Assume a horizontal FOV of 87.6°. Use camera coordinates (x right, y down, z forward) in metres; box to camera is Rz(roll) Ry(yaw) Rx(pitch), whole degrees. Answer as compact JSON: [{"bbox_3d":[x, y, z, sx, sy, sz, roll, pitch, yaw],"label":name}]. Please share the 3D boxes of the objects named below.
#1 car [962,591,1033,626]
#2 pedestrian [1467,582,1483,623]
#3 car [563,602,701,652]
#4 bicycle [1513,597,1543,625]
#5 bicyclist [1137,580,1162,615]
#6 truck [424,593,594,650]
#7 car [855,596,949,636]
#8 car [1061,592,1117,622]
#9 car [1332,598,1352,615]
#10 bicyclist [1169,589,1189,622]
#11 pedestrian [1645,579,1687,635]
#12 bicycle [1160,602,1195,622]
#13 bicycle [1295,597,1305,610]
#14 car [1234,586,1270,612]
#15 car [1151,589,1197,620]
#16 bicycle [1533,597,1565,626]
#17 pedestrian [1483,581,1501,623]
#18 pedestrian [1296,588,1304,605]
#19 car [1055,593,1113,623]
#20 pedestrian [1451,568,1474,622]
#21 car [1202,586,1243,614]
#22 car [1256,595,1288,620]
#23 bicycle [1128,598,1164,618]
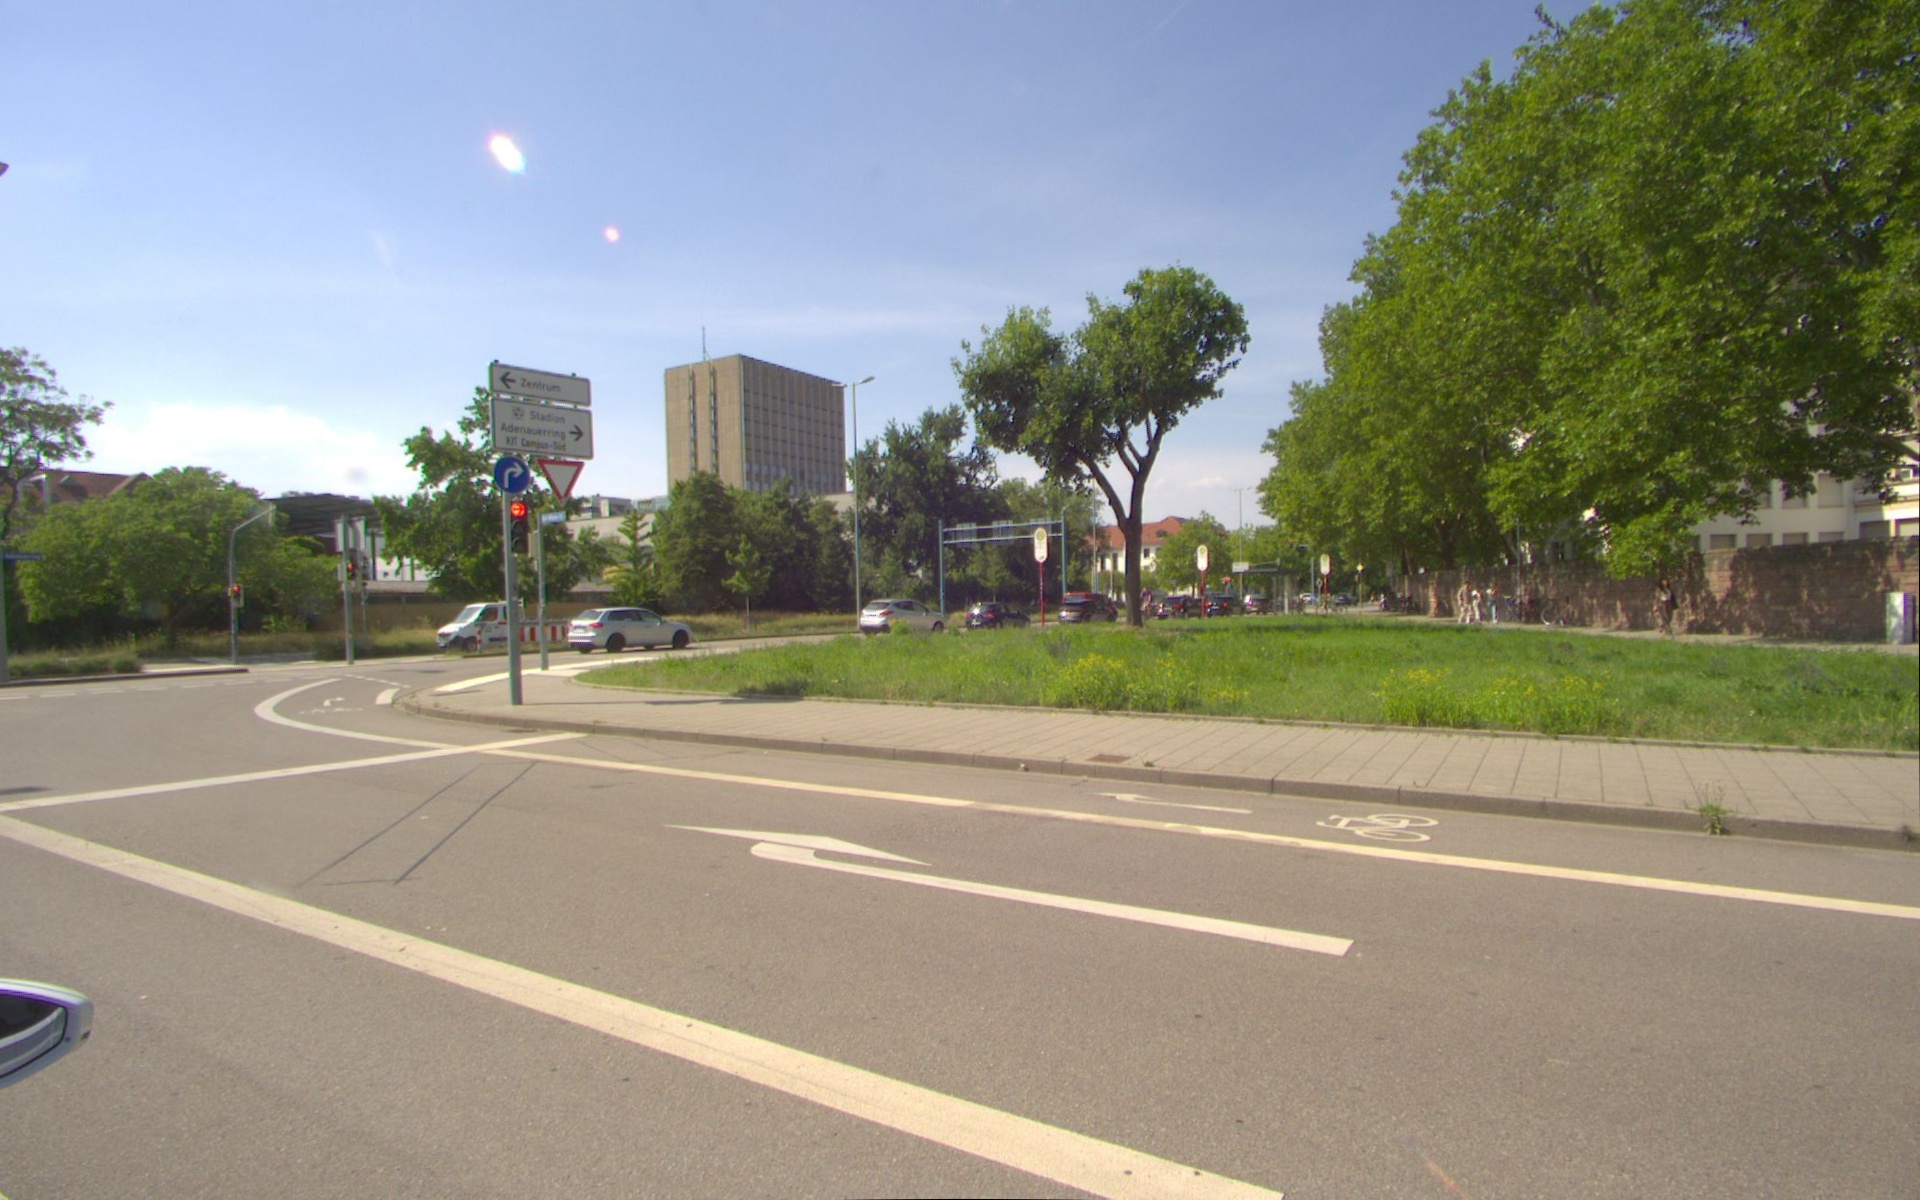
[{"bbox_3d":[1.892,0.393,49.486,1.564,1.612,3.972,-1,1,37],"label":"car"},{"bbox_3d":[20.361,0.113,39.589,0.515,1.599,0.701,-1,1,23],"label":"pedestrian"},{"bbox_3d":[-10.579,0.846,32.533,1.563,1.439,4.145,-1,1,35],"label":"car"},{"bbox_3d":[21.825,0.399,38.481,0.439,1.047,1.447,-1,1,6],"label":"bicycle"},{"bbox_3d":[9.093,-0.103,48.033,1.068,1.659,0.486,-1,1,29],"label":"bicyclist"},{"bbox_3d":[-20.795,0.929,46.593,2.379,2.387,7.007,-1,1,33],"label":"truck"},{"bbox_3d":[-2.499,0.669,44.023,1.691,1.640,4.183,-1,1,40],"label":"car"},{"bbox_3d":[8.390,0.436,64.877,1.950,1.821,4.587,-1,1,31],"label":"car"},{"bbox_3d":[47.693,0.840,124.880,1.968,2.039,3.987,-1,-2,26],"label":"car"},{"bbox_3d":[13.834,0.377,63.332,0.769,2.039,1.265,-1,-2,38],"label":"bicyclist"},{"bbox_3d":[20.306,0.199,28.817,0.493,1.569,0.913,-1,1,-4],"label":"pedestrian"},{"bbox_3d":[13.737,0.767,63.171,0.838,1.233,3.462,-1,-2,37],"label":"bicycle"},{"bbox_3d":[28.432,0.266,83.688,0.552,1.066,1.318,-1,1,30],"label":"bicycle"},{"bbox_3d":[24.096,-0.105,82.582,1.970,2.041,3.980,-1,1,30],"label":"car"},{"bbox_3d":[14.595,0.294,68.155,1.970,2.041,3.980,-1,1,30],"label":"car"},{"bbox_3d":[21.638,0.411,36.821,0.439,1.047,1.447,-1,1,6],"label":"bicycle"},{"bbox_3d":[20.977,0.075,39.486,0.515,1.599,0.701,-1,1,23],"label":"pedestrian"},{"bbox_3d":[28.414,-0.301,83.671,0.552,1.458,0.729,0,1,30],"label":"pedestrian"},{"bbox_3d":[7.126,0.448,57.300,1.564,1.612,3.972,-1,1,37],"label":"car"},{"bbox_3d":[19.484,-0.186,38.801,0.513,2.040,0.596,-2,1,-9],"label":"pedestrian"},{"bbox_3d":[19.735,-0.012,75.189,1.970,2.041,3.980,-1,1,30],"label":"car"},{"bbox_3d":[27.493,0.679,88.154,1.970,2.039,3.984,-1,-2,29],"label":"car"},{"bbox_3d":[8.961,0.389,48.291,1.912,0.899,0.679,-2,1,-42],"label":"bicycle"}]
